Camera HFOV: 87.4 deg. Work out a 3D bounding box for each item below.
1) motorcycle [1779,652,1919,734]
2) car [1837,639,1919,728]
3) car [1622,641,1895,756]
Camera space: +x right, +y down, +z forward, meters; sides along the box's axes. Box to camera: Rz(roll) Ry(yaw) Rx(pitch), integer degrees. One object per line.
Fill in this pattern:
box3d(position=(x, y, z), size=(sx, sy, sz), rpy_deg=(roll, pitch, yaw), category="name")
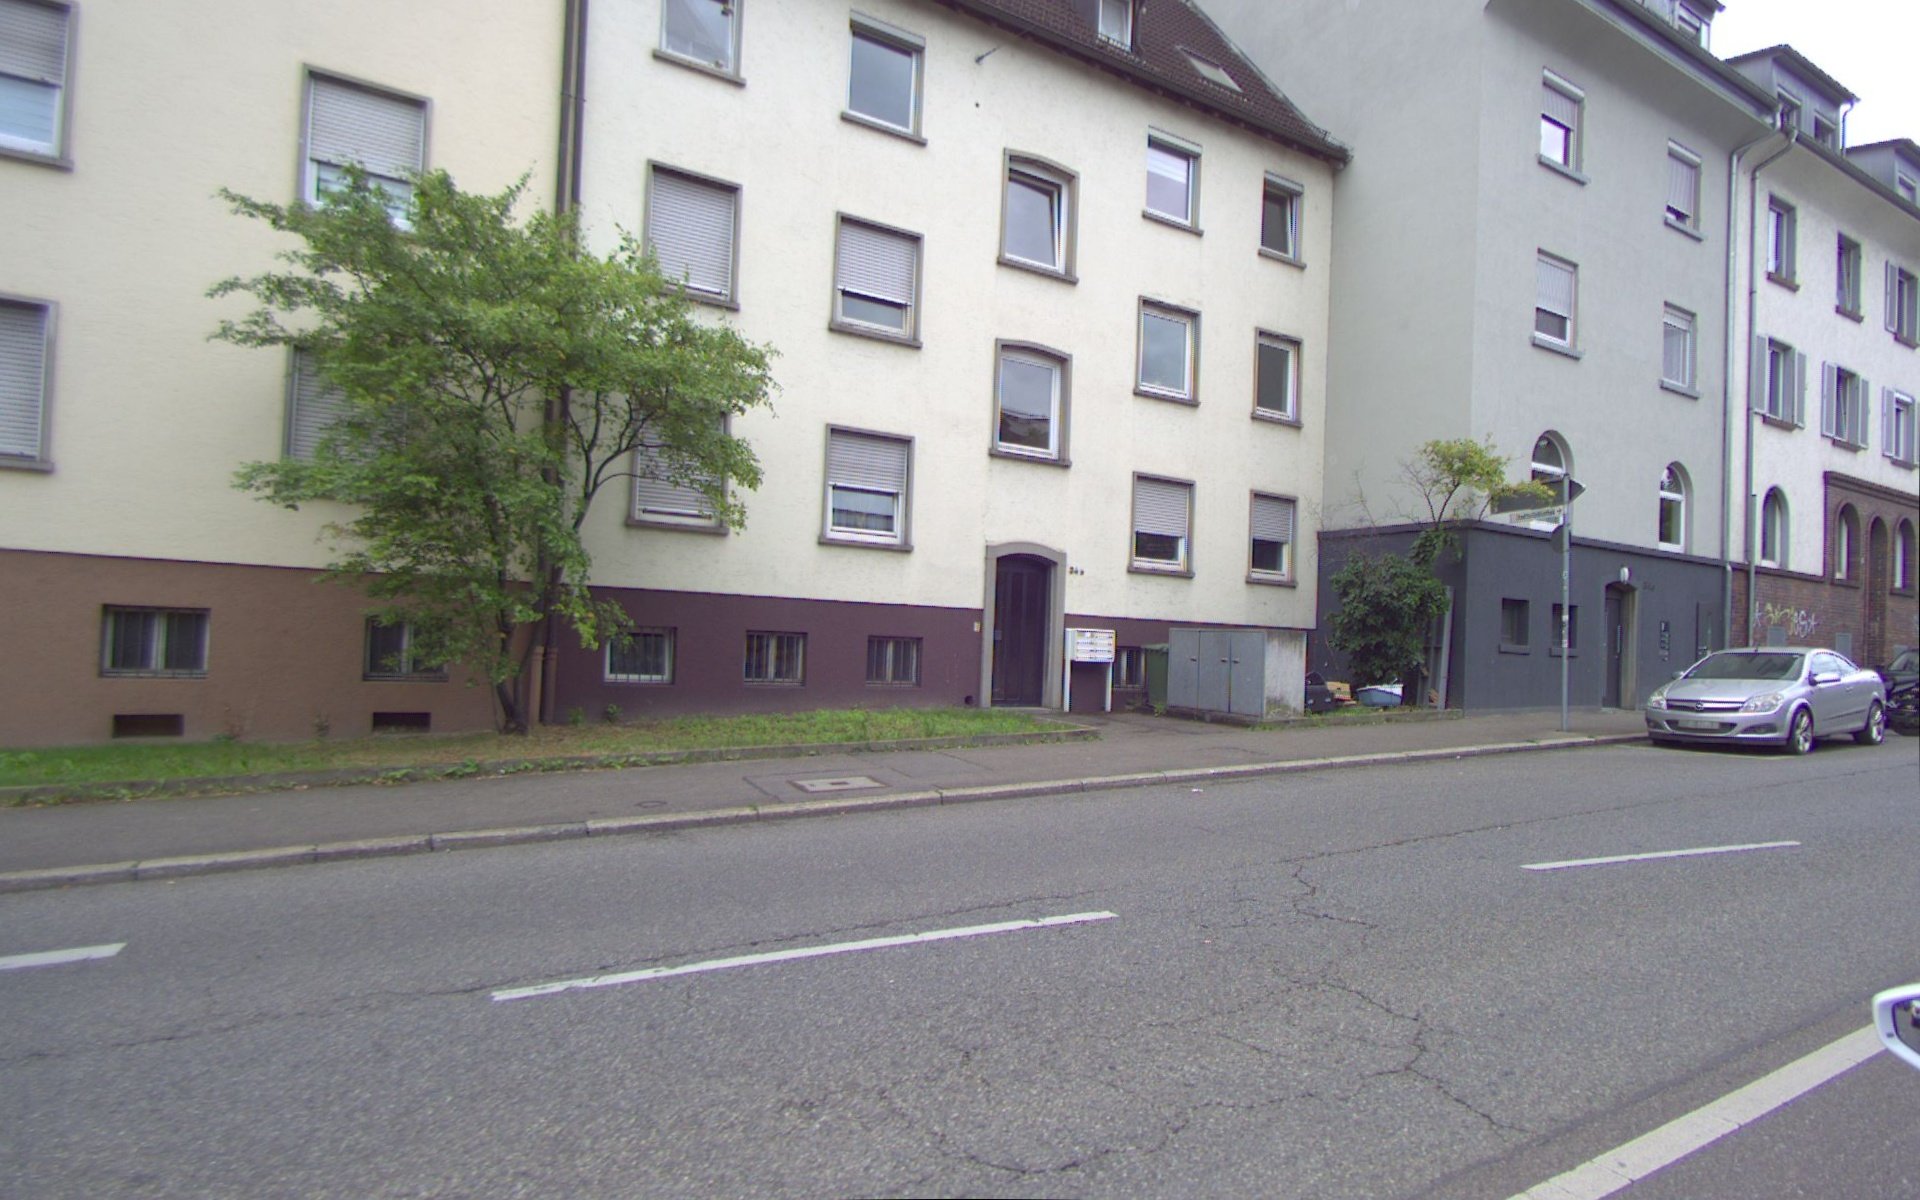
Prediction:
box3d(position=(14.544, 1.467, 16.185), size=(2.018, 1.251, 0.803), rpy_deg=(-3, -3, 43), category="motorcycle")
box3d(position=(17.562, 1.438, 17.886), size=(4.143, 1.448, 1.719), rpy_deg=(1, -2, -31), category="car")
box3d(position=(11.474, 1.305, 14.372), size=(4.288, 1.392, 1.718), rpy_deg=(1, -2, -32), category="car")
